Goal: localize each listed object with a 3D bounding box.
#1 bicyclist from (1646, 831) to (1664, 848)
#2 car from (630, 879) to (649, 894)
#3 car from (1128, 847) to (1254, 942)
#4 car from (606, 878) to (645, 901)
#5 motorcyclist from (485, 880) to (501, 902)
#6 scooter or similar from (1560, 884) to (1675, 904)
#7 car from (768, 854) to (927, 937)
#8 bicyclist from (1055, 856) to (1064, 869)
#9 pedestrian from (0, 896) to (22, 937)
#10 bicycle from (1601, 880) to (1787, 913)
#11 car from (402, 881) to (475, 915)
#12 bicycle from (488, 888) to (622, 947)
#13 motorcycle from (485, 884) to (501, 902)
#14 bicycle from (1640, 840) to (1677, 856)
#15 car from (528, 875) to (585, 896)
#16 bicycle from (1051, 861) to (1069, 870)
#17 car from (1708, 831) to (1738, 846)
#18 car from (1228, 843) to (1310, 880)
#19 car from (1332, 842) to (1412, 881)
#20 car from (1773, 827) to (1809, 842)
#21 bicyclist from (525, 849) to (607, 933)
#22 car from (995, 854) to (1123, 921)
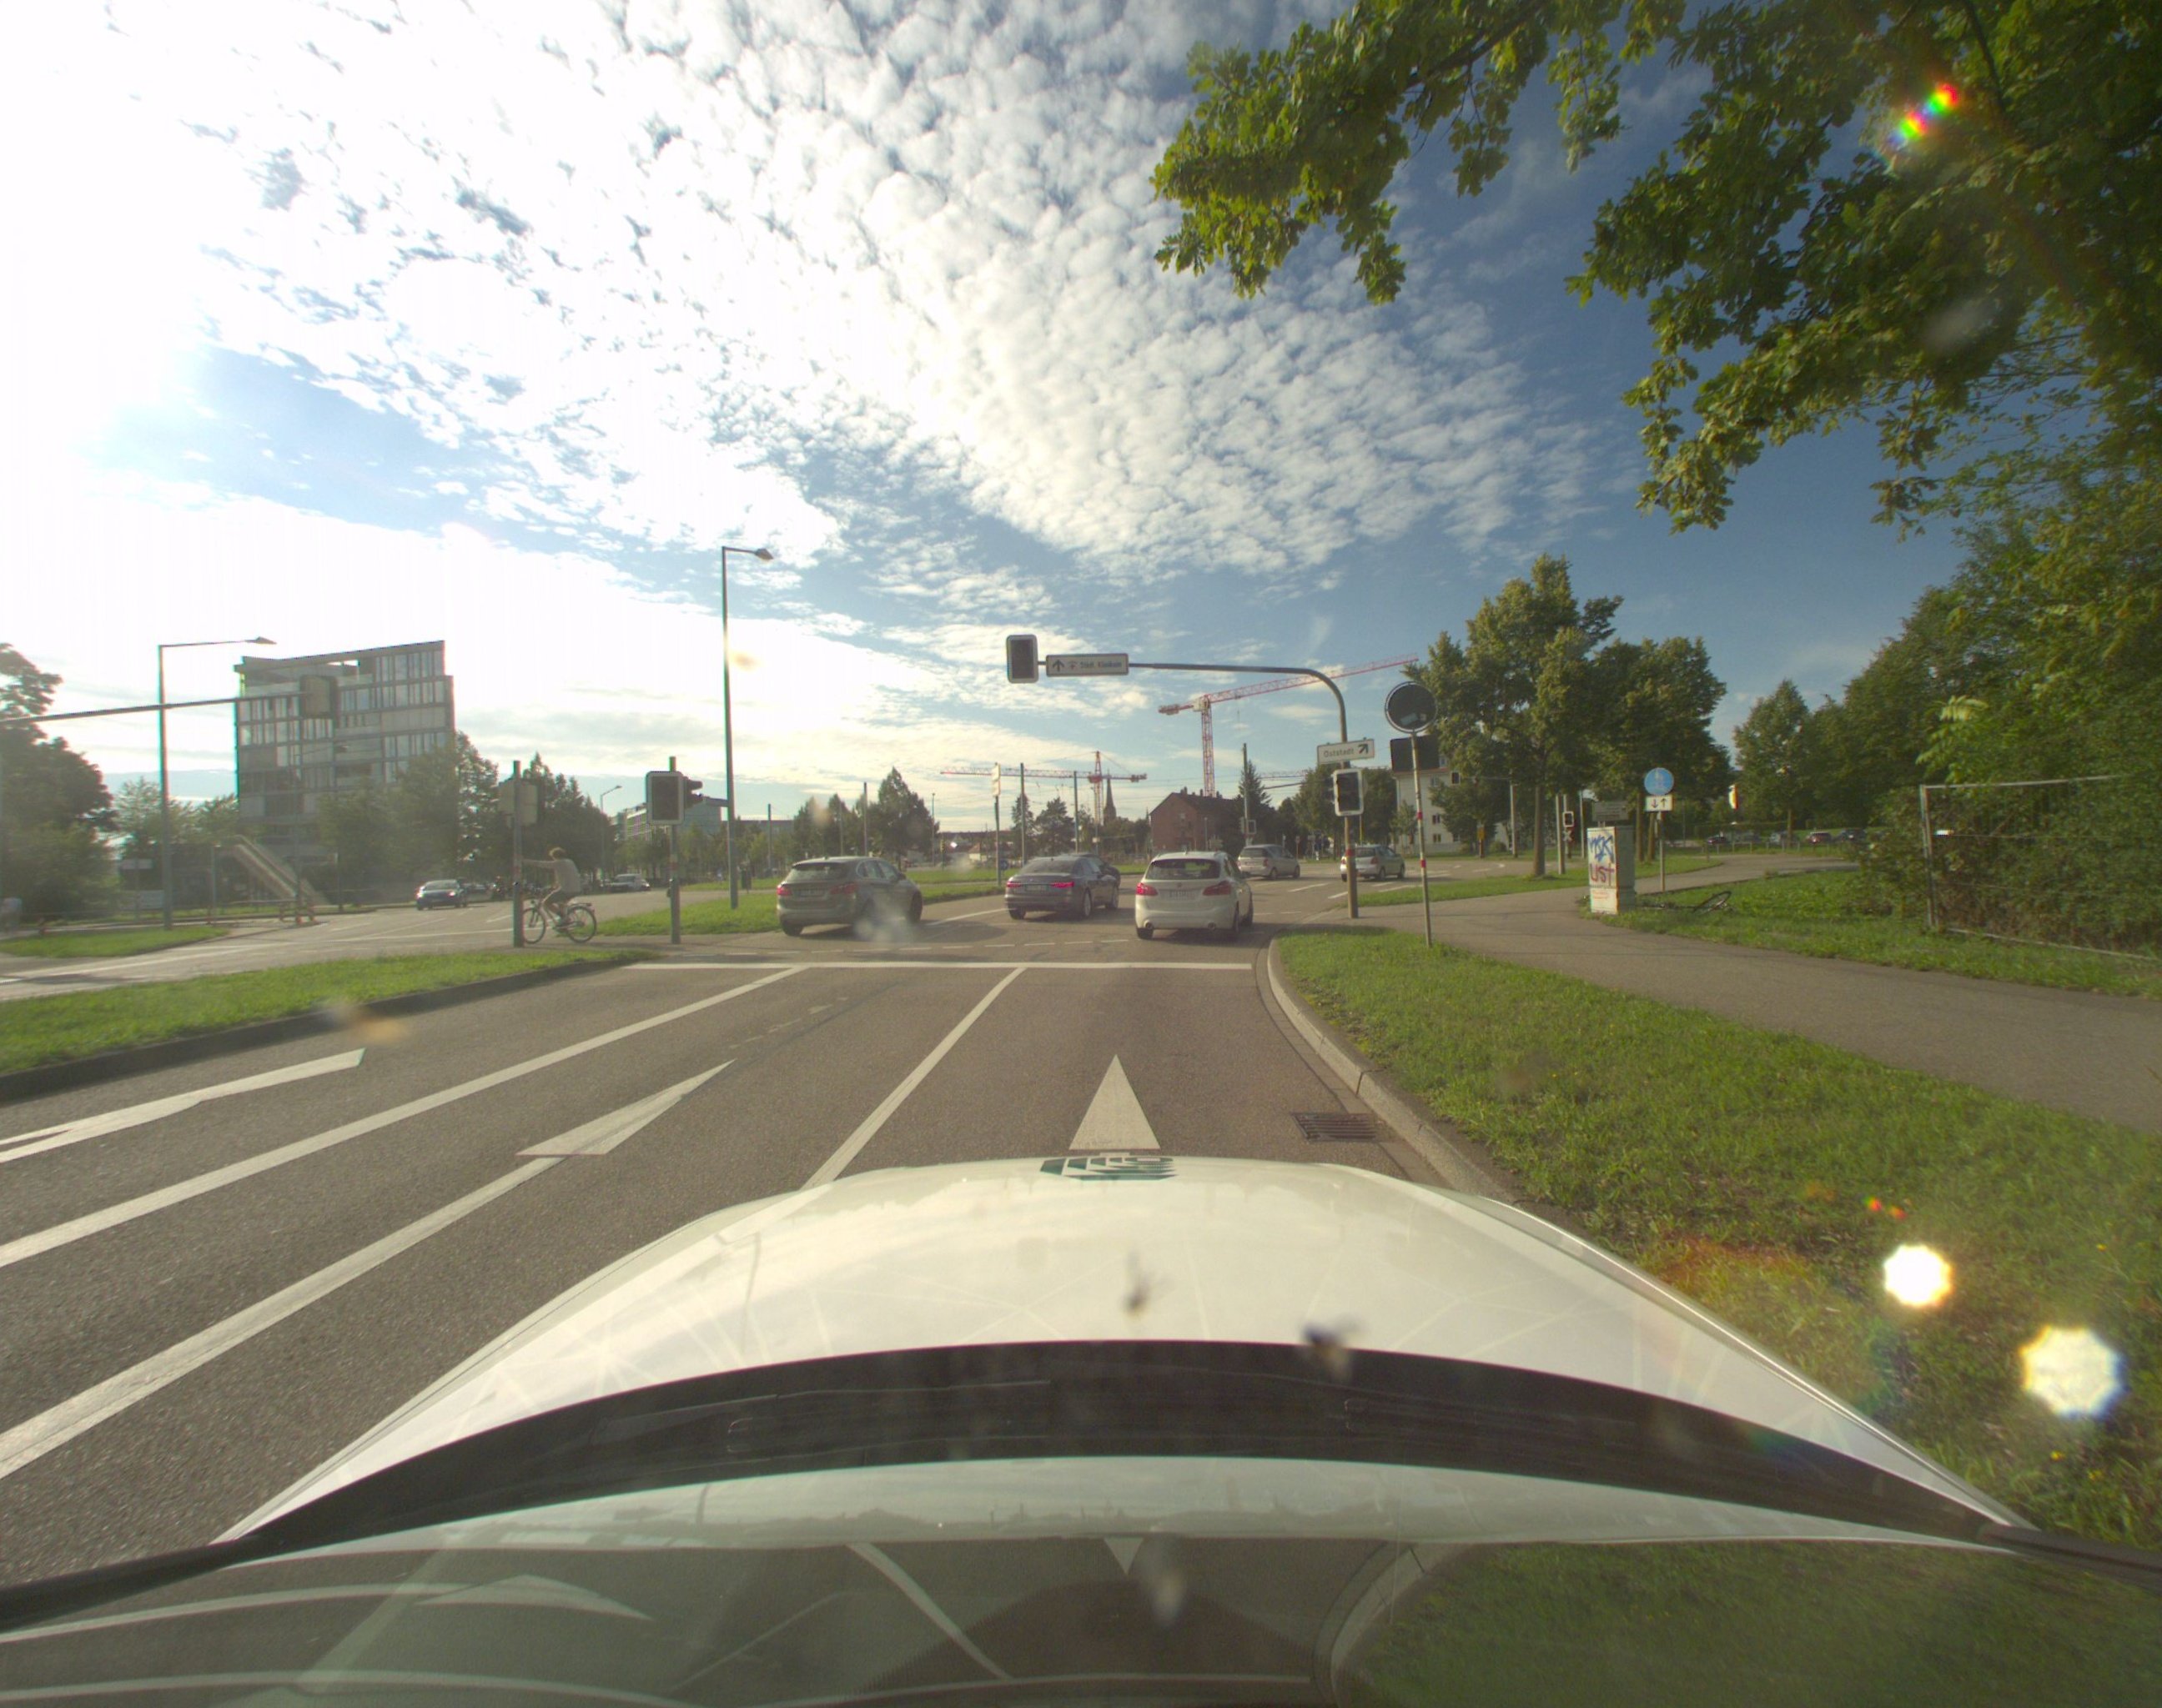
[{"bbox_3d":[48.372,-1.212,68.605,0.998,1.355,0.714,-3,-1,1],"label":"bicyclist"},{"bbox_3d":[-48.918,3.608,90.255,1.690,1.501,3.957,-4,0,-28],"label":"car"},{"bbox_3d":[2.286,0.685,15.845,1.837,1.572,4.473,-1,0,15],"label":"car"},{"bbox_3d":[-41.753,3.216,74.759,1.681,1.824,4.544,-4,0,-11],"label":"car"},{"bbox_3d":[-37.427,2.339,51.820,0.788,1.366,0.933,-2,-1,-35],"label":"motorcyclist"},{"bbox_3d":[10.790,0.792,16.410,1.555,0.281,1.283,-2,0,-23],"label":"scooter or similar"},{"bbox_3d":[-4.858,0.805,17.589,1.758,1.572,4.076,-1,0,8],"label":"car"},{"bbox_3d":[-2.839,1.148,108.428,0.950,1.575,0.775,-3,0,14],"label":"bicyclist"},{"bbox_3d":[-43.270,2.524,32.903,0.541,1.625,0.509,-3,-1,41],"label":"pedestrian"},{"bbox_3d":[10.099,0.675,13.520,1.094,0.346,2.228,-2,2,-32],"label":"bicycle"},{"bbox_3d":[-32.461,2.179,41.267,1.785,1.501,3.964,-4,0,-22],"label":"car"},{"bbox_3d":[-10.202,1.218,15.837,1.945,1.007,1.004,-2,0,6],"label":"bicycle"},{"bbox_3d":[-37.561,2.472,52.033,0.788,0.986,2.002,-2,1,-34],"label":"motorcycle"},{"bbox_3d":[48.715,-0.496,68.691,2.511,1.222,0.714,-3,0,1],"label":"bicycle"},{"bbox_3d":[-41.233,2.449,64.154,1.757,1.420,4.001,-2,0,1],"label":"car"},{"bbox_3d":[-2.808,1.540,108.424,2.127,1.137,0.775,-3,0,14],"label":"bicycle"},{"bbox_3d":[63.246,-1.525,80.286,1.837,1.359,4.764,-3,-1,33],"label":"car"},{"bbox_3d":[8.516,0.307,36.635,1.832,1.478,4.483,-1,1,39],"label":"car"},{"bbox_3d":[12.020,0.262,33.413,1.832,1.426,4.484,-1,1,37],"label":"car"},{"bbox_3d":[67.938,-1.829,77.946,1.837,1.358,4.865,-3,-1,33],"label":"car"},{"bbox_3d":[-9.985,0.704,15.834,0.858,1.556,0.999,-2,0,6],"label":"bicyclist"},{"bbox_3d":[-0.390,0.749,20.250,1.836,1.445,4.734,-1,0,16],"label":"car"}]
